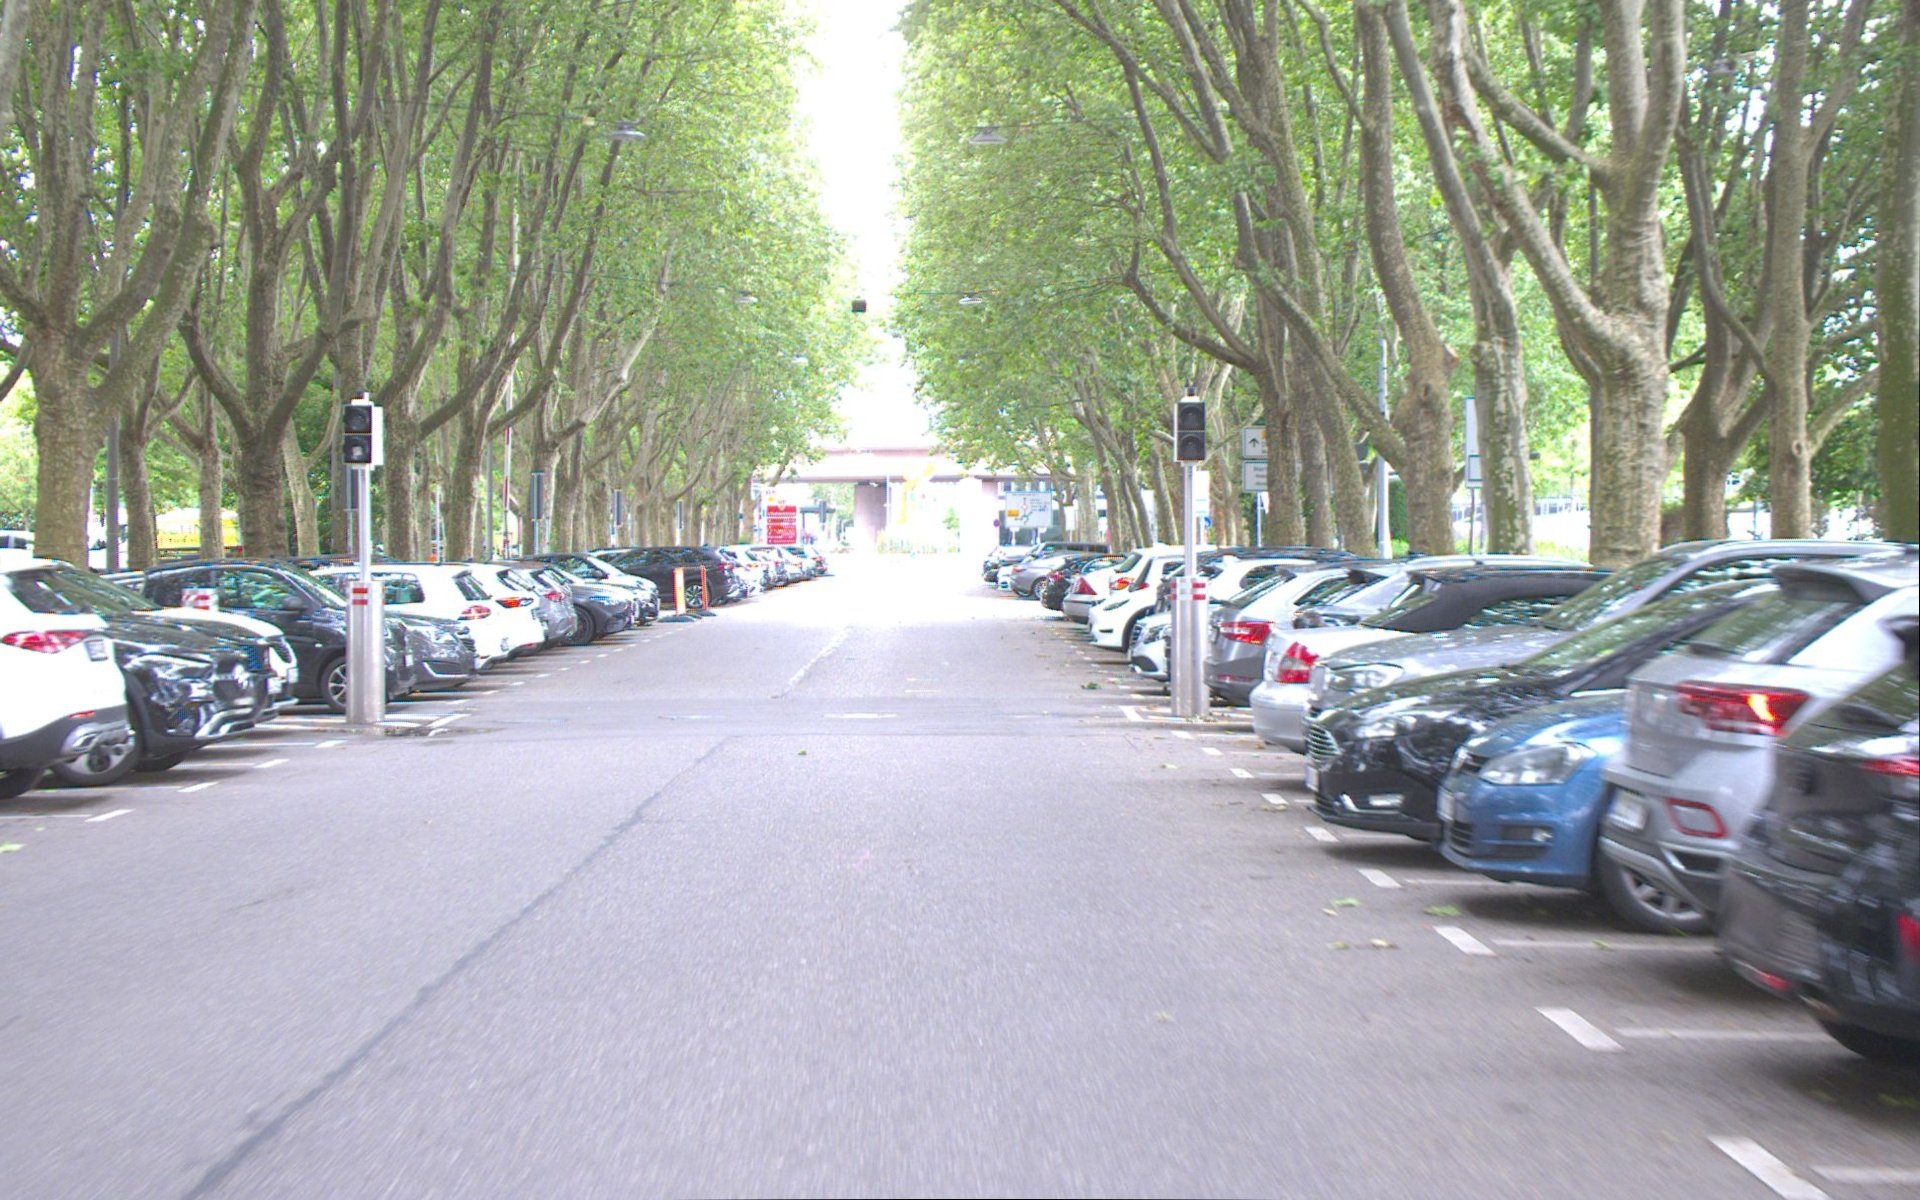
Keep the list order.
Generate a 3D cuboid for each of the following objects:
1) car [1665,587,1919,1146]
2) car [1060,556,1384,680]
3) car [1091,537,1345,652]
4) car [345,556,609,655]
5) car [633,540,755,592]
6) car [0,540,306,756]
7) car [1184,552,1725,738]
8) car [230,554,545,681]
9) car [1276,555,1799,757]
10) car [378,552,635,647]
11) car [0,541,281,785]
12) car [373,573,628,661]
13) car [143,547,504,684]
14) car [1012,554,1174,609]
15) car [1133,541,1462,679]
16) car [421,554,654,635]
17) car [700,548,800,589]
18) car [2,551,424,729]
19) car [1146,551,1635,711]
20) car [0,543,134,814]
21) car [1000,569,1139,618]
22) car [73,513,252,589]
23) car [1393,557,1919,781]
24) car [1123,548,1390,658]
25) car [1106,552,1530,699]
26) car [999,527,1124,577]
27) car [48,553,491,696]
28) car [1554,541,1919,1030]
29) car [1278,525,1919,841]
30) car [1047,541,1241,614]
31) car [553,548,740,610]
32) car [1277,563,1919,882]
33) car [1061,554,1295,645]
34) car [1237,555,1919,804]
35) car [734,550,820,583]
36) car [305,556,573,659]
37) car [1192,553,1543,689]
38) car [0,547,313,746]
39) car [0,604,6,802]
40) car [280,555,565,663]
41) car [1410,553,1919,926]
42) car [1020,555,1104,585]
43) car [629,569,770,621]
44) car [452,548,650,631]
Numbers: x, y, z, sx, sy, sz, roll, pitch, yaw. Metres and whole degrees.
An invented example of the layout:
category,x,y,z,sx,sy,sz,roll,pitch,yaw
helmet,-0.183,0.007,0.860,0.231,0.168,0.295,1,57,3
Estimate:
category,x,y,z,sx,sy,sz,roll,pitch,yaw
car,4.075,0.700,9.561,3.826,1.384,1.694,1,1,-2
car,3.549,0.231,47.029,4.166,1.591,1.855,1,1,-4
car,3.891,-0.089,52.156,3.645,1.661,1.519,1,1,-4
car,-7.597,0.078,54.307,3.827,1.425,1.694,-1,1,4
car,-8.954,-1.162,115.947,3.814,1.597,1.785,-2,1,5
car,-7.279,0.379,27.328,3.826,1.602,1.834,-2,1,-3
car,4.191,0.366,29.558,4.366,1.465,1.624,1,1,-1
car,-7.366,0.209,44.494,3.826,1.492,1.695,-2,1,-3
car,4.467,0.415,26.949,3.775,1.465,1.667,1,1,-1
car,-7.421,-0.024,56.533,4.020,1.425,1.695,-2,1,-3
car,-7.016,0.445,24.144,4.068,1.602,1.799,-1,1,2
car,-8.222,0.288,61.791,4.400,1.425,1.695,-2,1,-3
car,-7.207,0.161,39.222,3.826,1.425,1.695,-2,1,-3
car,3.851,-0.542,99.001,4.575,1.481,2.000,1,1,5
car,4.124,0.108,42.410,3.775,1.592,1.821,1,1,-4
car,-8.157,-0.115,66.641,4.332,1.425,1.695,-2,1,-3
car,-8.534,-1.295,139.863,3.814,1.510,1.686,-2,1,5
car,-7.342,0.372,34.060,3.826,1.602,1.695,-2,1,-3
car,4.228,0.289,34.202,4.614,1.465,1.650,1,1,-1
car,-7.339,0.506,21.637,3.826,1.622,1.953,-2,1,-3
car,3.400,-0.194,106.314,4.176,1.437,1.731,1,1,5
car,-24.237,-1.496,104.608,5.077,2.224,1.536,1,1,-2
car,5.067,0.468,24.400,3.776,1.465,1.624,1,1,1
car,4.280,0.032,49.942,3.645,1.514,1.644,1,1,-4
car,3.804,0.257,36.931,4.296,1.465,1.624,1,1,-4
car,3.670,-1.752,124.864,4.376,1.745,1.731,1,1,-3
car,-7.310,0.244,36.700,4.400,1.360,1.695,-2,1,-3
car,4.207,0.626,12.238,3.826,1.602,1.694,1,1,-2
car,3.965,0.445,19.610,4.113,1.664,1.694,1,1,0
car,3.831,-0.475,72.031,3.918,1.447,1.556,1,1,-1
car,-8.076,-0.553,88.838,4.664,1.422,2.000,-2,1,-2
car,3.782,0.584,17.045,4.211,1.446,1.611,1,1,-2
car,3.600,-0.028,57.325,3.645,1.419,1.986,1,1,-4
car,3.928,0.485,22.169,4.113,1.465,1.694,1,1,0
car,-8.526,-1.566,160.361,3.814,1.510,1.686,1,1,3
car,-7.855,0.102,52.094,3.826,1.425,1.695,-2,1,-3
car,4.675,0.226,39.733,3.775,1.465,1.624,1,1,-4
car,-7.761,0.406,29.710,4.043,1.602,1.694,-2,0,-3
car,-7.504,0.512,19.295,3.826,1.466,1.695,-2,1,-3
car,-7.716,0.113,49.623,3.826,1.425,1.802,-2,1,-2
car,3.965,0.564,14.573,3.826,1.450,1.694,1,1,-2
car,5.362,-1.595,180.717,4.376,1.517,1.731,1,1,1
car,-7.522,-0.151,99.377,3.814,1.349,1.662,-2,1,5
car,-8.230,-0.220,69.380,3.826,1.549,1.695,-2,1,-3
